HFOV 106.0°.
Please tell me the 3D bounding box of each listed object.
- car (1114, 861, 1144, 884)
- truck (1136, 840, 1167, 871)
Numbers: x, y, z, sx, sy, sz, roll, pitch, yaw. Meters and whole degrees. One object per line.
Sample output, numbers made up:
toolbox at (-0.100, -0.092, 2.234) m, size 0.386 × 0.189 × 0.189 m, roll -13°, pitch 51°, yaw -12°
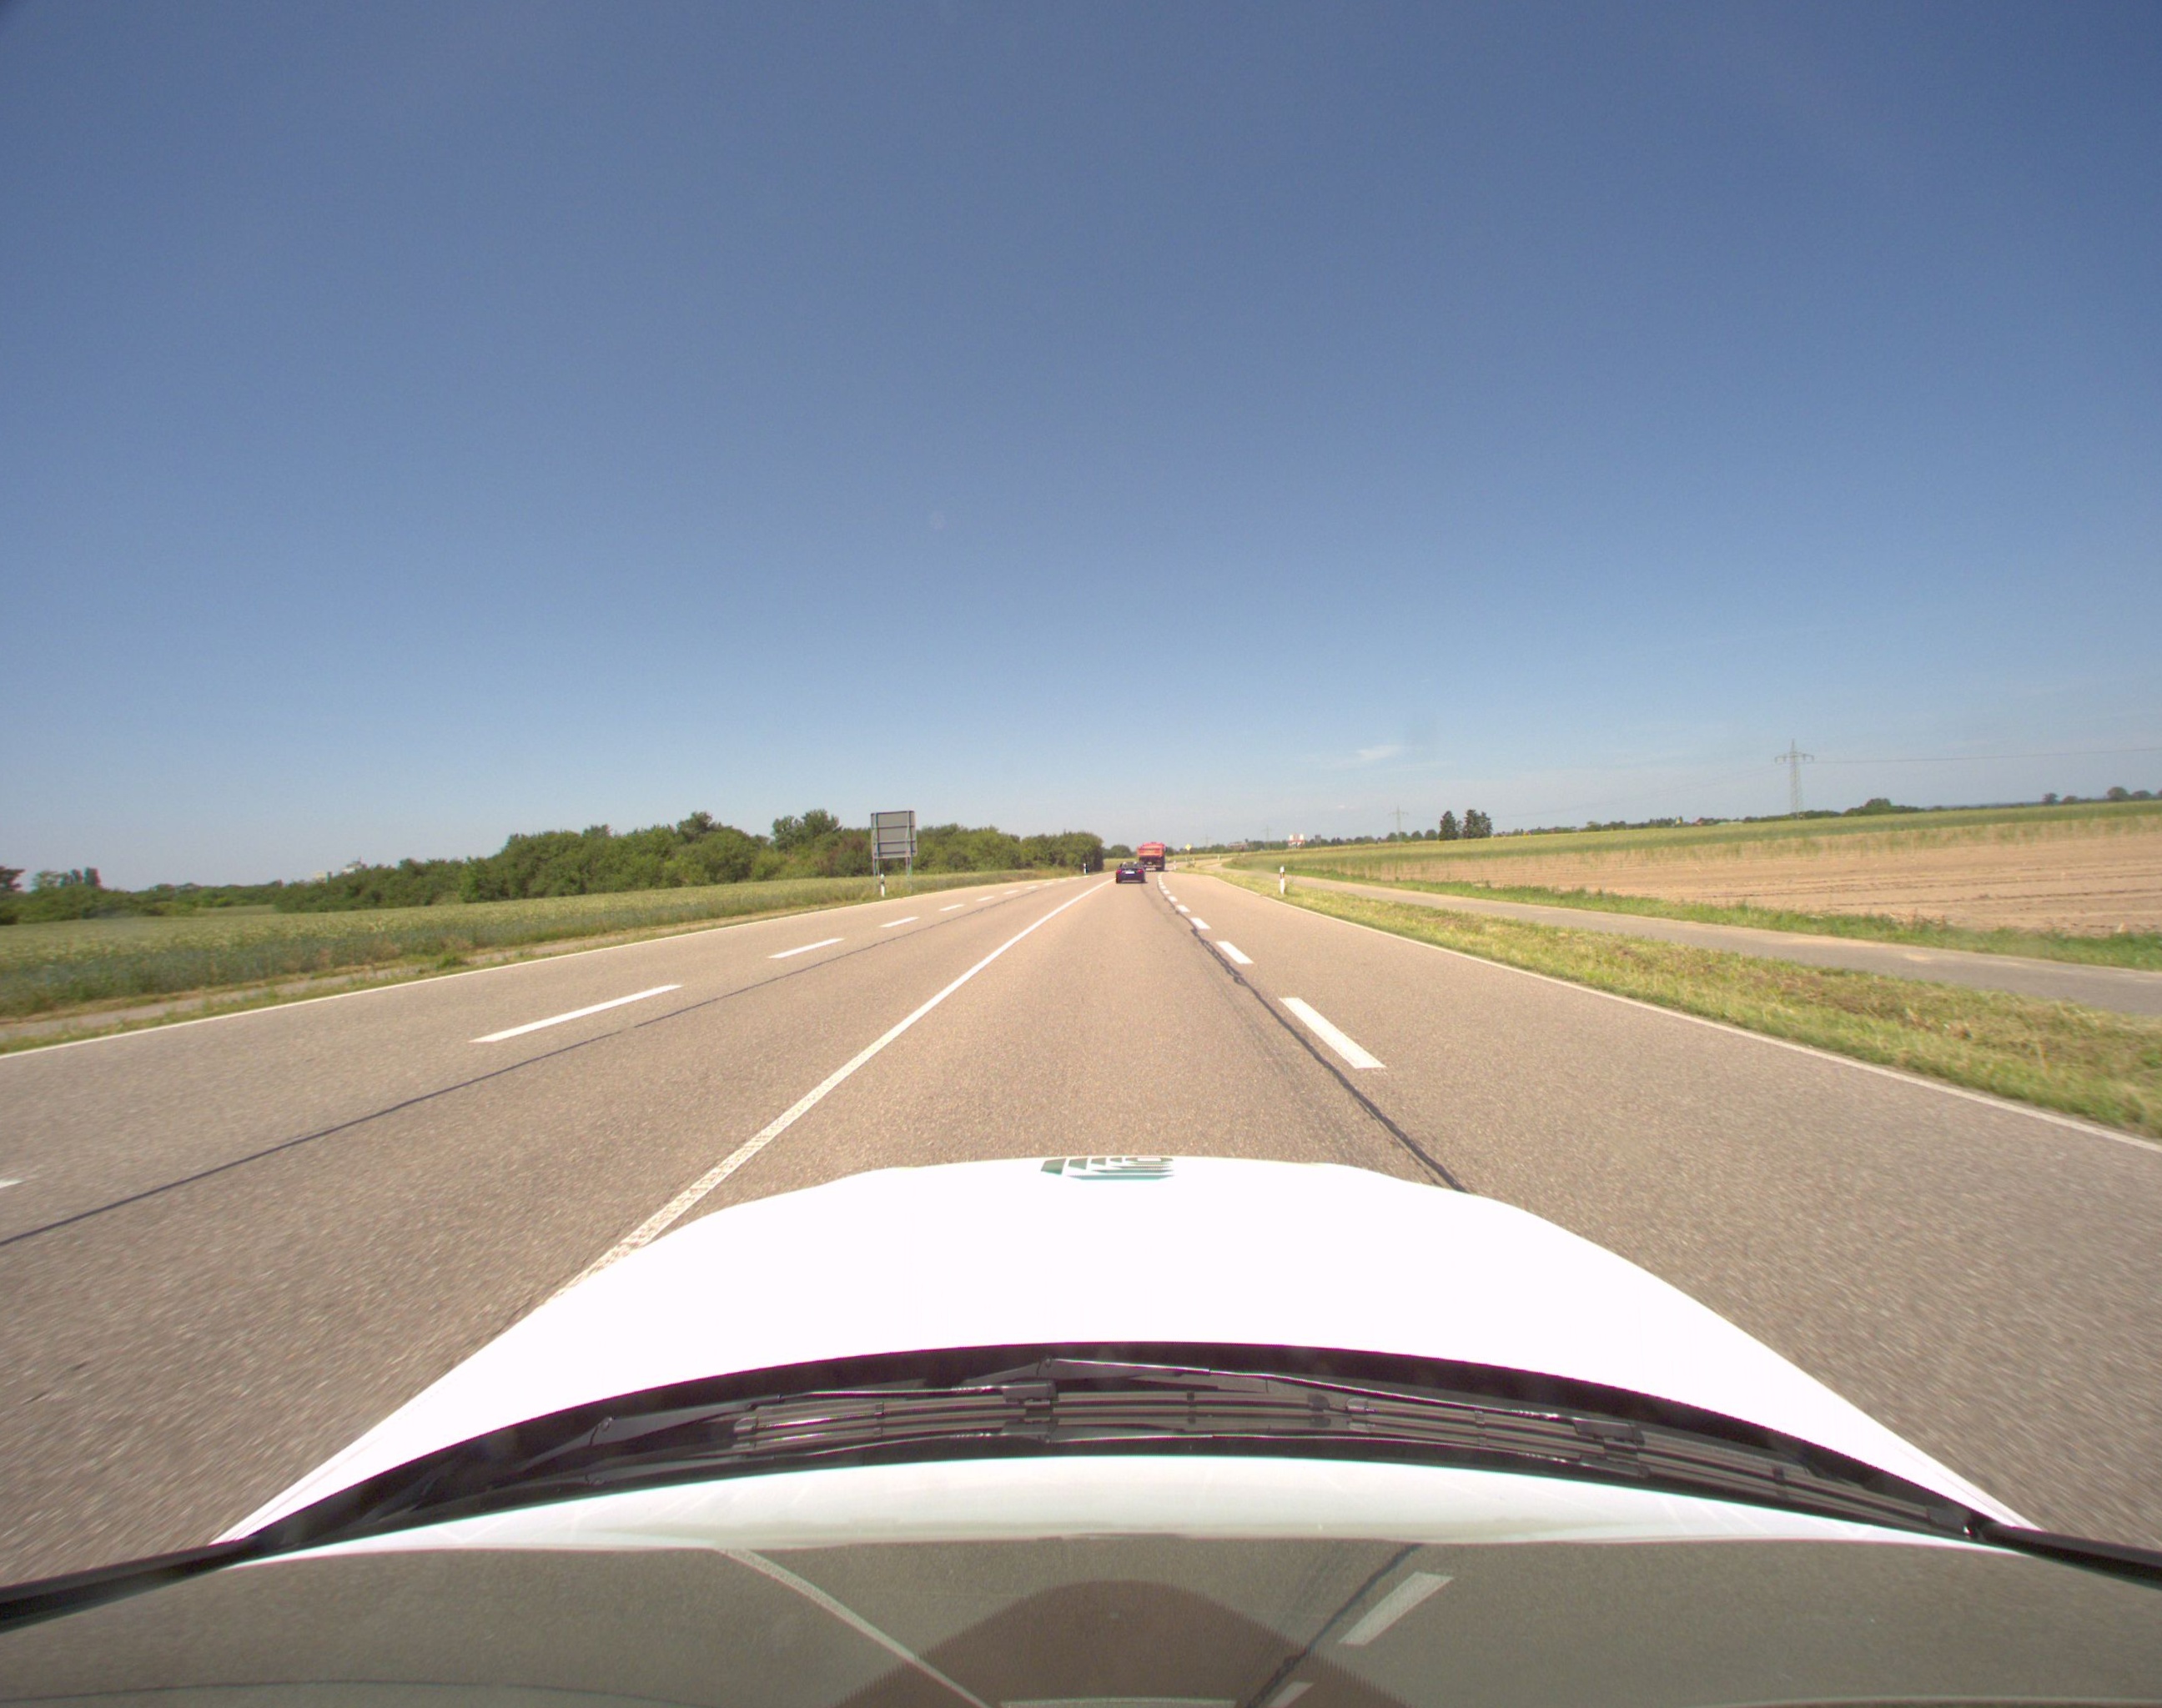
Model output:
car at (2.966, 1.097, 50.176) m, size 1.736 × 1.280 × 4.004 m, roll -1°, pitch 0°, yaw 4°
truck at (7.462, 0.148, 86.517) m, size 2.926 × 3.089 × 7.201 m, roll -2°, pitch -1°, yaw 3°
